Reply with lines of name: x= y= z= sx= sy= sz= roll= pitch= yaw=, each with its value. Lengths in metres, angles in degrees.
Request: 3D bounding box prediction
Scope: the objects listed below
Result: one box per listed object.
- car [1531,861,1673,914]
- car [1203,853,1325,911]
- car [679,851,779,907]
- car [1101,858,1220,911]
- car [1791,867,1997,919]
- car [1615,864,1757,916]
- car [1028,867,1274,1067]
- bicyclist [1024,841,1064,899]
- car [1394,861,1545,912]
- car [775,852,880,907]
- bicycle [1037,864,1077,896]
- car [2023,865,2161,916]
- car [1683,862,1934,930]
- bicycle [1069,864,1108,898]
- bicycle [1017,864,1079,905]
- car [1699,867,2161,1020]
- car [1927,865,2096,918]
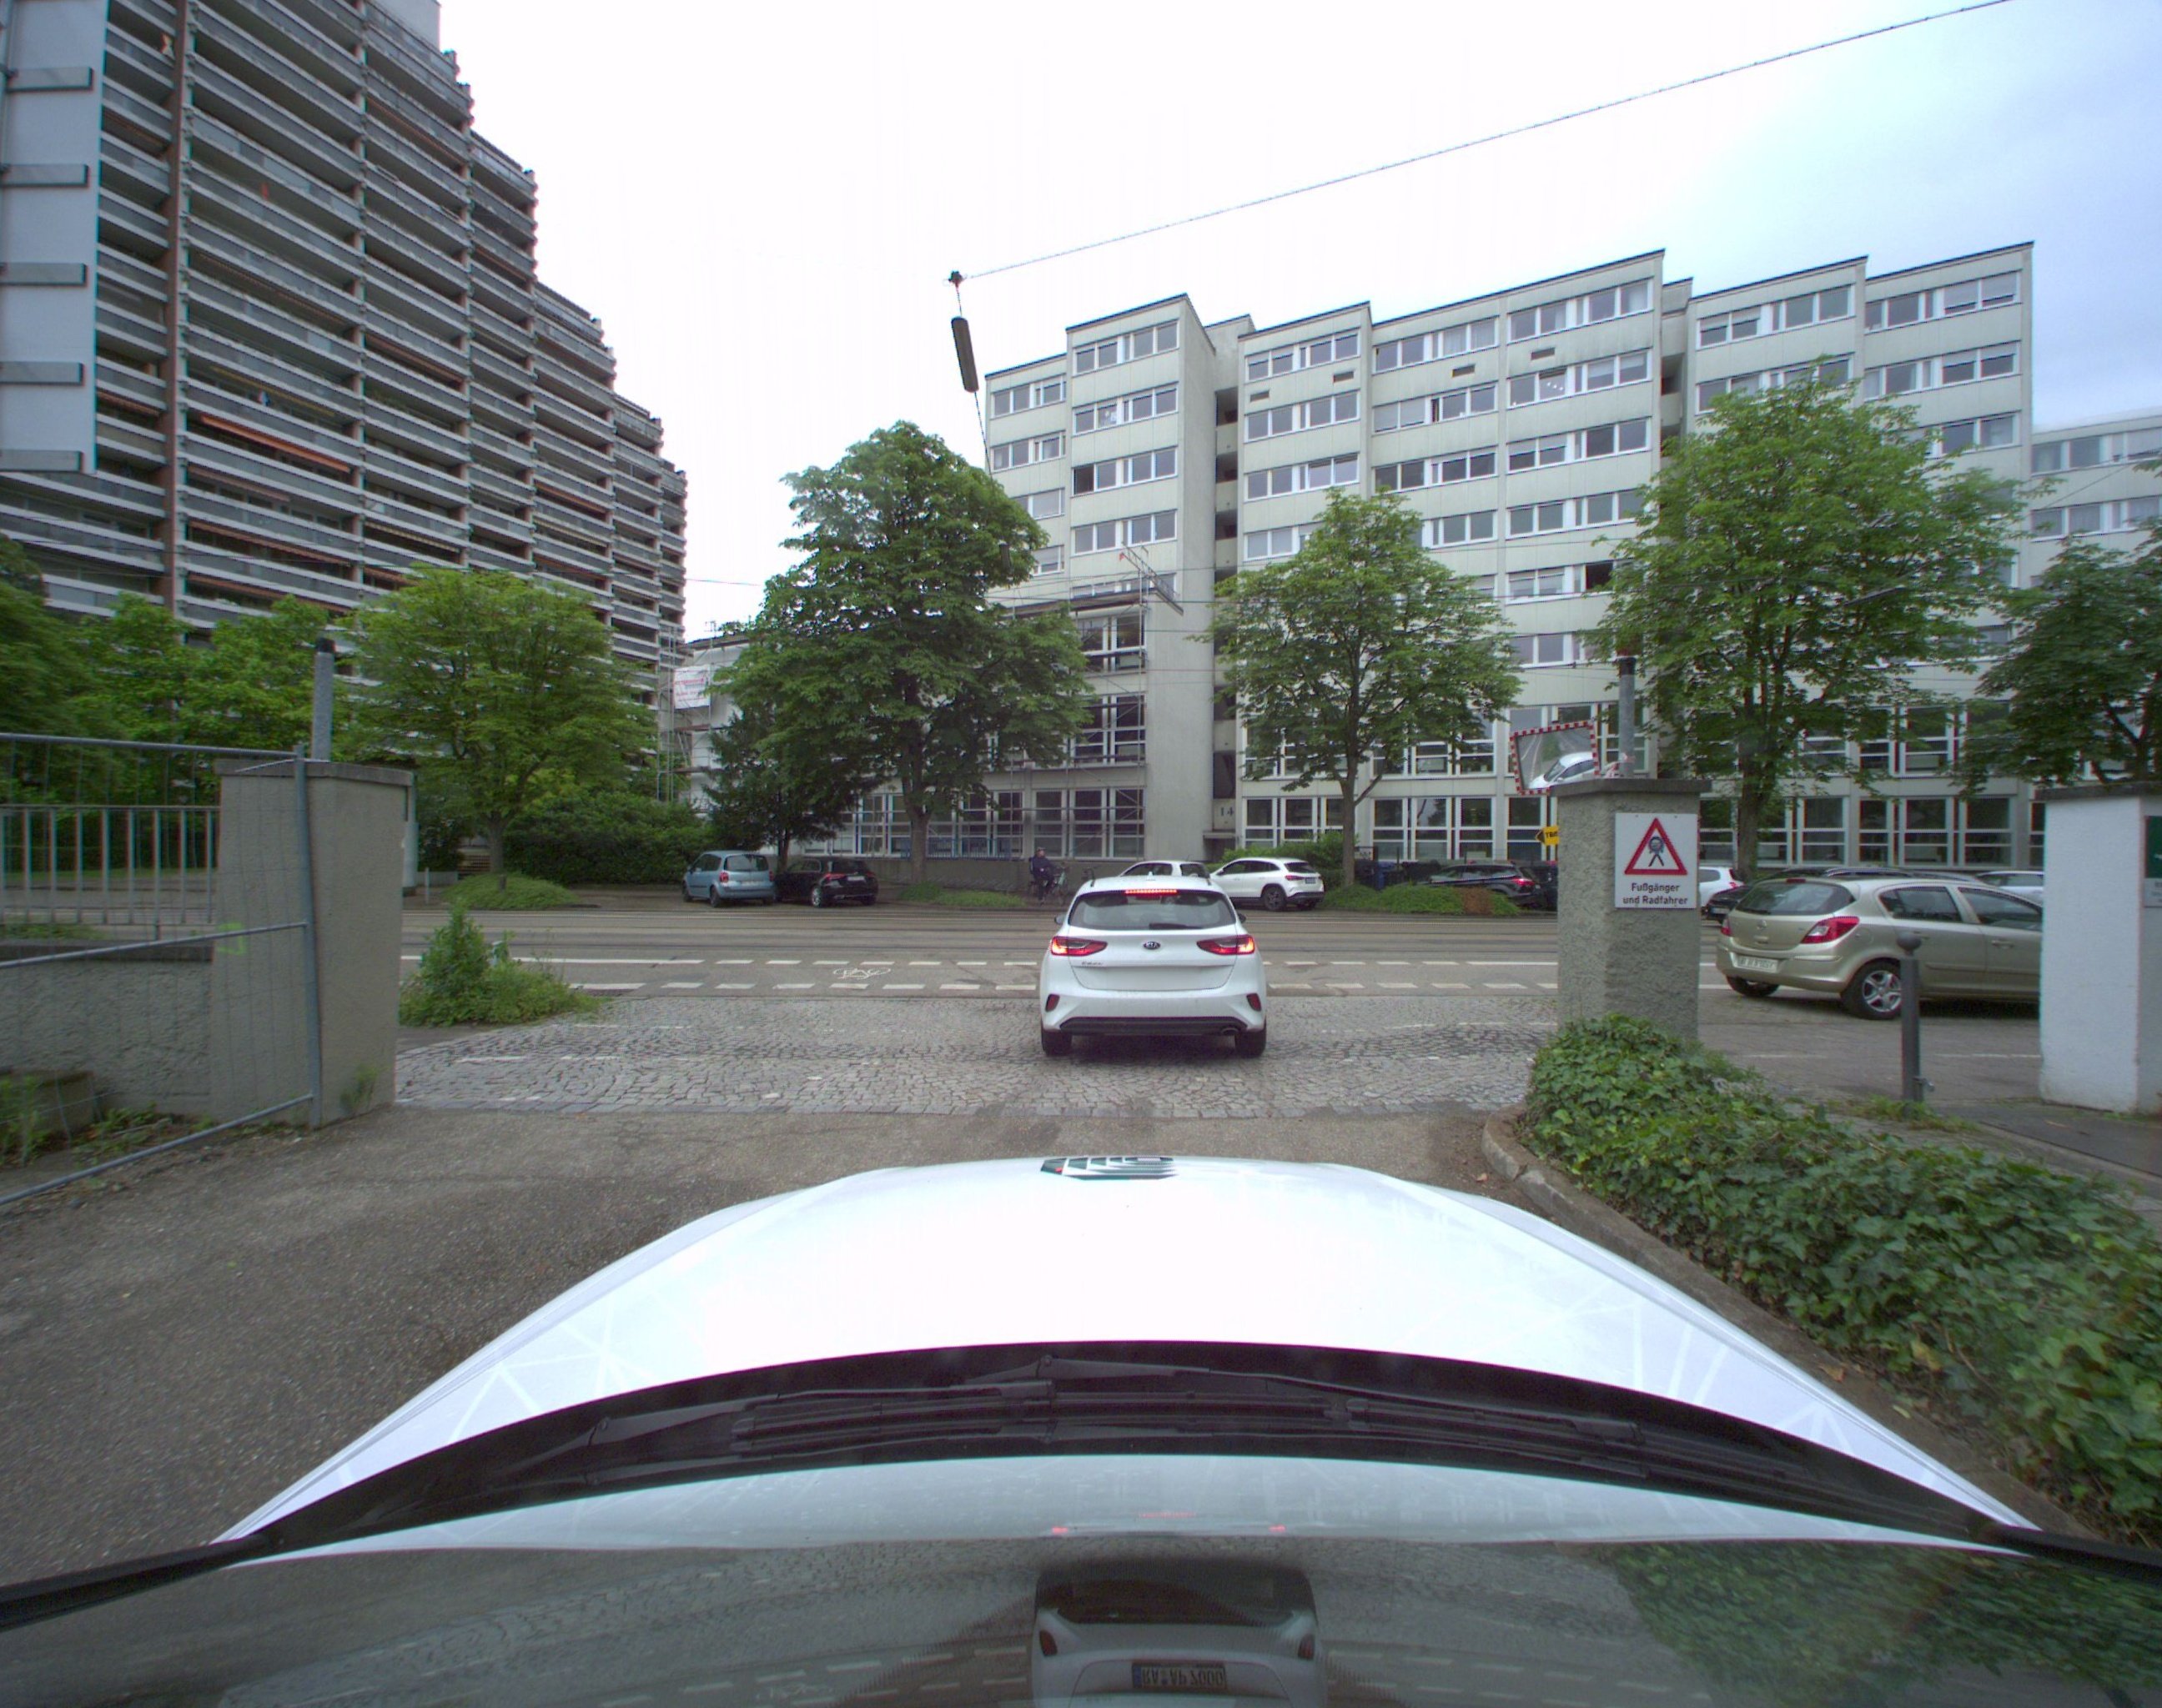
car: x=15.605 y=0.946 z=24.470 sx=1.425 sy=1.474 sz=3.348 roll=0 pitch=-1 yaw=-44
car: x=5.510 y=0.803 z=24.769 sx=1.565 sy=1.618 sz=3.367 roll=0 pitch=-1 yaw=-42
car: x=-10.375 y=0.683 z=23.918 sx=1.628 sy=1.537 sz=3.296 roll=0 pitch=0 yaw=-45
car: x=2.319 y=0.859 z=24.353 sx=1.565 sy=1.473 sz=3.367 roll=0 pitch=-1 yaw=-42
car: x=25.159 y=1.174 z=25.443 sx=4.441 sy=1.474 sz=1.425 roll=-1 pitch=-3 yaw=42
car: x=18.635 y=1.060 z=25.168 sx=1.425 sy=1.474 sz=3.348 roll=0 pitch=-1 yaw=-44
car: x=0.678 y=0.896 z=7.885 sx=1.767 sy=1.433 sz=3.983 roll=-1 pitch=-2 yaw=5
bicyclist: x=-1.130 y=0.472 z=24.708 sx=0.839 sy=1.698 sz=0.886 roll=1 pitch=0 yaw=-43
car: x=12.007 y=0.952 z=25.284 sx=3.904 sy=1.474 sz=1.683 roll=-1 pitch=-1 yaw=42
car: x=-7.496 y=0.702 z=23.933 sx=1.628 sy=1.511 sz=3.296 roll=0 pitch=-1 yaw=-45
bicycle: x=-0.891 y=0.969 z=30.870 sx=0.638 sy=1.074 sz=2.325 roll=0 pitch=2 yaw=22
car: x=31.743 y=1.083 z=25.175 sx=1.425 sy=1.474 sz=3.348 roll=0 pitch=0 yaw=-44
car: x=16.743 y=0.938 z=18.895 sx=4.227 sy=1.490 sz=1.823 roll=0 pitch=0 yaw=0
bicycle: x=0.318 y=0.984 z=30.372 sx=0.638 sy=1.074 sz=2.325 roll=0 pitch=2 yaw=22
bicycle: x=-1.002 y=0.890 z=24.554 sx=0.826 sy=1.174 sz=1.892 roll=1 pitch=0 yaw=-43
car: x=9.309 y=0.921 z=9.106 sx=3.570 sy=1.501 sz=1.665 roll=0 pitch=0 yaw=0
car: x=28.543 y=1.106 z=25.135 sx=1.425 sy=1.473 sz=3.348 roll=0 pitch=0 yaw=-44
